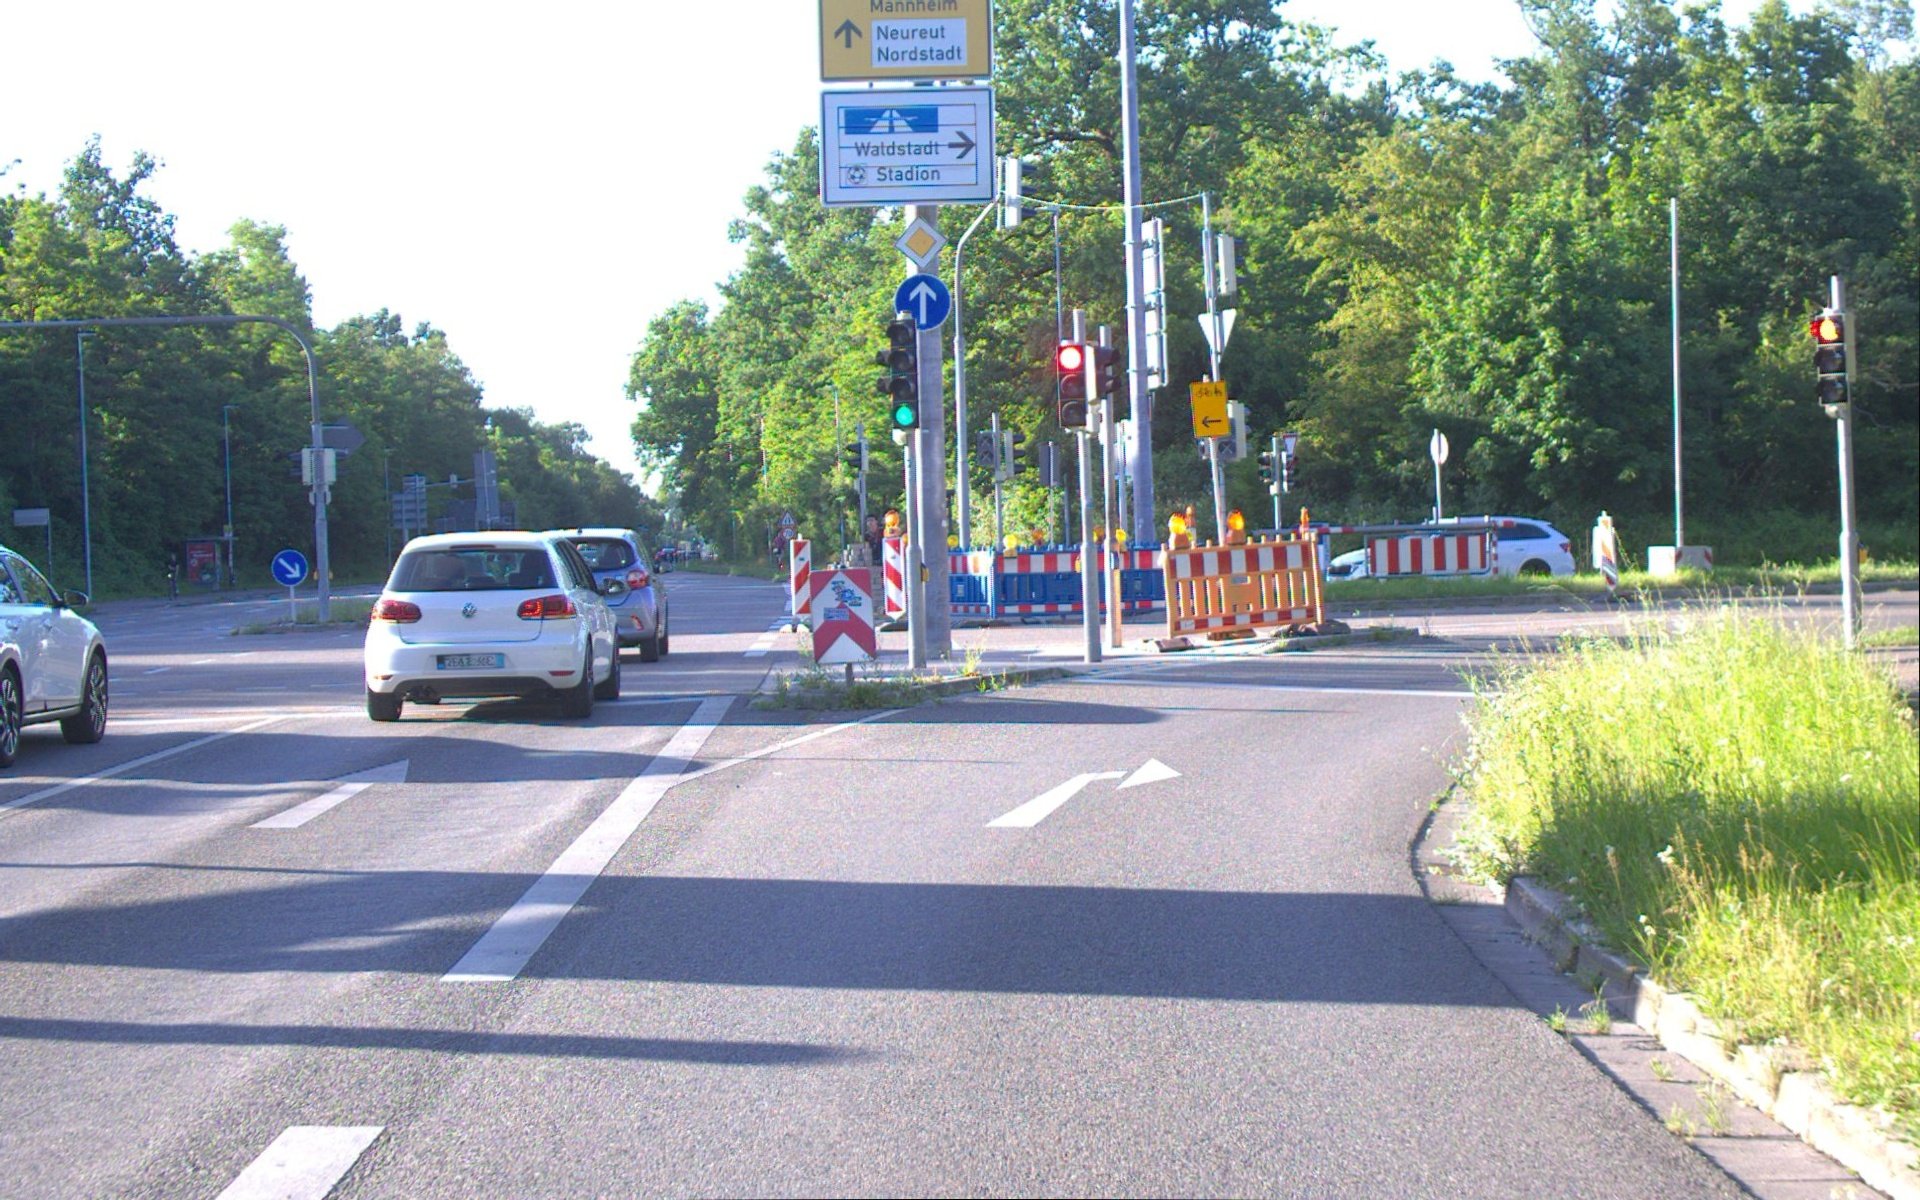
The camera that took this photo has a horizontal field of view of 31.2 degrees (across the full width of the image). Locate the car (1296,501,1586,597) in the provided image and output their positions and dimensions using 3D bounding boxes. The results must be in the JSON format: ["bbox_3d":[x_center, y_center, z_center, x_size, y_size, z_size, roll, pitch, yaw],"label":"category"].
[{"bbox_3d":[8.715,-0.926,62.236,4.817,1.575,2.000,-2,1,-23],"label":"car"}]

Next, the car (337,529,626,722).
[{"bbox_3d":[-3.848,0.155,28.248,1.940,1.409,4.001,-2,1,-2],"label":"car"}]

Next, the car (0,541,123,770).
[{"bbox_3d":[-7.052,0.337,23.312,1.863,1.439,4.000,-1,1,-2],"label":"car"}]

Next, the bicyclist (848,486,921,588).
[{"bbox_3d":[-1.441,-1.202,65.470,1.013,1.923,0.968,-1,2,-33],"label":"bicyclist"}]

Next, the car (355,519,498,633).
[{"bbox_3d":[-8.475,-0.410,54.896,1.993,1.679,4.001,-2,1,-6],"label":"car"}]

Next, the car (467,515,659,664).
[{"bbox_3d":[-4.444,-0.154,38.776,1.993,1.531,4.001,-2,1,-6],"label":"car"}]
